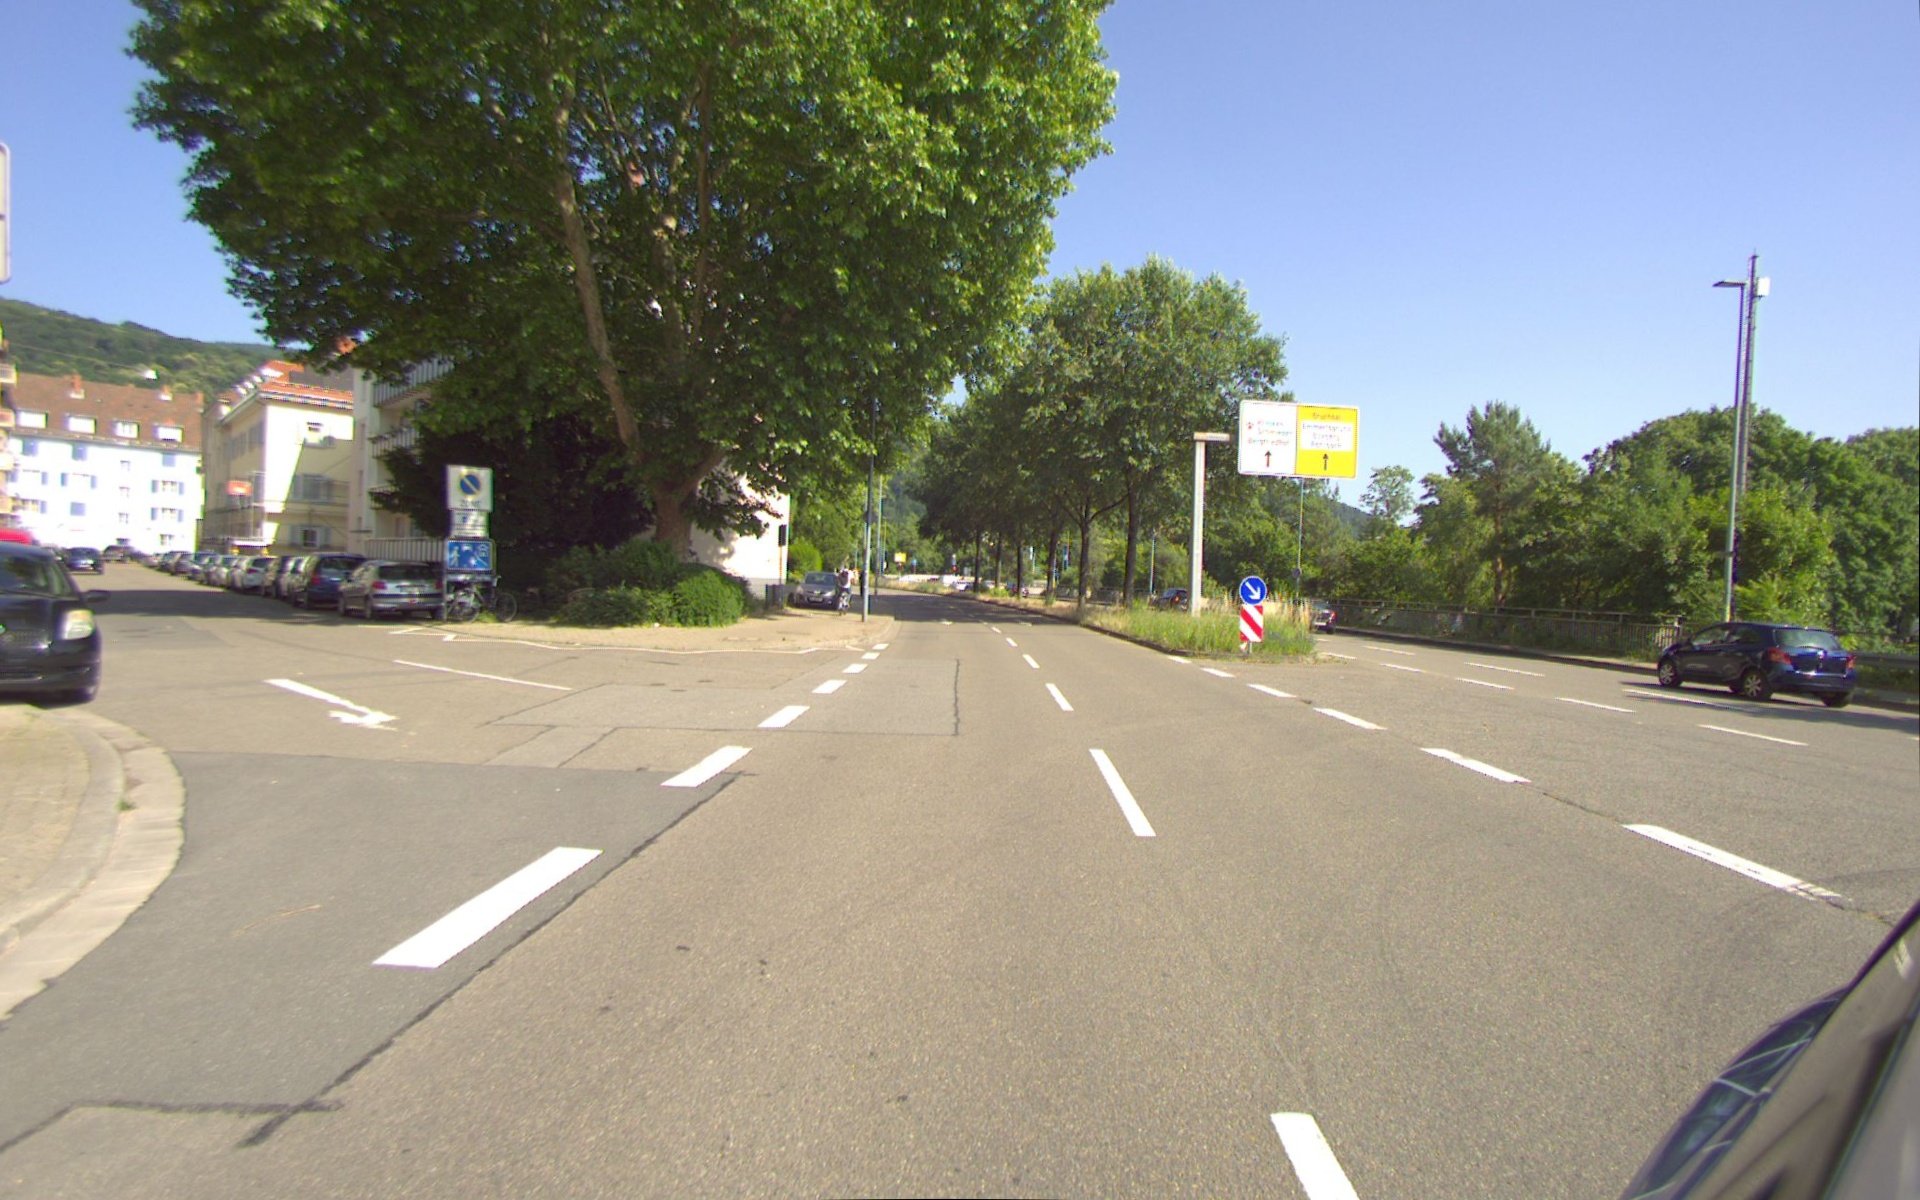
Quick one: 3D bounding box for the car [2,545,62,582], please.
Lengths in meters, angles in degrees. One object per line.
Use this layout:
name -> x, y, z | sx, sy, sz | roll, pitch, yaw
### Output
car -> -40.670, -1.624, 44.342 | 1.838, 1.504, 3.854 | 2, 1, -44

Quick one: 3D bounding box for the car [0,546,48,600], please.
car -> -28.646, -0.860, 30.306 | 1.838, 1.504, 3.991 | 2, 1, -44

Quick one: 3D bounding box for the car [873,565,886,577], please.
car -> -12.994, -4.651, 163.395 | 1.600, 1.834, 3.599 | 2, 1, -11

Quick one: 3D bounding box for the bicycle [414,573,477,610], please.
bicycle -> -15.253, -0.237, 30.040 | 1.548, 1.005, 0.456 | 4, 1, -44

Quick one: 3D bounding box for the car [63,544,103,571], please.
car -> -53.338, -2.588, 61.586 | 1.723, 1.479, 3.776 | 2, 1, -40

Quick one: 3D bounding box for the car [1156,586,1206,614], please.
car -> 14.531, -0.027, 66.707 | 1.885, 1.684, 4.317 | 2, 1, -6

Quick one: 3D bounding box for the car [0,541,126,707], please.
car -> -9.915, 0.134, 10.108 | 3.752, 1.465, 1.800 | 3, 1, 40

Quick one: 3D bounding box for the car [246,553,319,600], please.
car -> -24.250, -0.861, 36.190 | 1.723, 1.539, 3.667 | 2, 1, -40

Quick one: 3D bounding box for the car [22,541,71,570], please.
car -> -51.724, -2.538, 57.341 | 1.965, 1.496, 3.994 | 2, 1, -41

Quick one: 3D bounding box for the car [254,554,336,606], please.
car -> -21.422, -0.666, 32.553 | 1.723, 1.539, 3.667 | 2, 1, -40

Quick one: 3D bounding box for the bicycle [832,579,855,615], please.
bicycle -> -4.022, -0.099, 35.090 | 0.544, 1.203, 1.285 | 2, 1, 3

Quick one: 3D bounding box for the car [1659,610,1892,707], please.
car -> 16.031, 1.072, 20.156 | 1.616, 1.519, 3.649 | 4, 1, 1

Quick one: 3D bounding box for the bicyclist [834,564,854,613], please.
bicyclist -> -4.012, -0.390, 35.084 | 0.531, 1.654, 0.589 | 2, 0, 3

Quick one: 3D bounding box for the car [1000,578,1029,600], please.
car -> 5.235, -1.083, 97.635 | 1.959, 1.914, 4.006 | 2, 1, -7

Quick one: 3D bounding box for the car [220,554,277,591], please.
car -> -31.709, -1.245, 45.053 | 1.723, 1.539, 3.667 | 2, 1, -40

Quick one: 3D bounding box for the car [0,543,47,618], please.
car -> -20.868, -0.483, 21.699 | 1.837, 1.504, 3.992 | 2, 1, -43

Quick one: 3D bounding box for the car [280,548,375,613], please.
car -> -18.009, -0.586, 28.727 | 1.723, 1.678, 3.775 | 2, 1, -40

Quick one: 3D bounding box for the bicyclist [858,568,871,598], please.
bicyclist -> -6.174, -1.104, 65.400 | 0.634, 1.918, 0.841 | 2, 1, -13

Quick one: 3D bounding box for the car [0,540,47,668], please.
car -> -13.535, -0.041, 13.467 | 1.955, 1.562, 4.055 | 1, 2, -44

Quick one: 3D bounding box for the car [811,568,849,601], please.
car -> -6.875, -0.837, 53.219 | 1.612, 1.593, 4.008 | 2, 1, -12

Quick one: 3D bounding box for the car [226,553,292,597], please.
car -> -27.147, -0.982, 39.156 | 1.723, 1.539, 3.667 | 2, 1, -40

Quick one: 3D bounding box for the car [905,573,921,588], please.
car -> -6.301, -2.654, 136.355 | 1.600, 1.834, 3.599 | 3, 1, -11

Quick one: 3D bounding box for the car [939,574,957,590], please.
car -> -1.541, -2.327, 127.611 | 1.601, 1.938, 3.688 | 2, 1, -10

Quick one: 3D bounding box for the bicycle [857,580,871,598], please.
bicycle -> -6.181, -0.713, 65.381 | 0.648, 1.136, 1.807 | 2, 1, -12

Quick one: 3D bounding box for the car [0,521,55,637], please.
car -> -17.020, -0.426, 17.541 | 1.839, 1.864, 4.221 | 2, 1, -41

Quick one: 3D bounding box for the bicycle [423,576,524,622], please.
bicycle -> -11.226, -0.014, 23.387 | 0.970, 0.996, 1.868 | 3, 1, 43

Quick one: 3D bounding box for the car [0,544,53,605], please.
car -> -25.267, -0.728, 26.692 | 1.836, 1.504, 3.996 | 2, 1, -40

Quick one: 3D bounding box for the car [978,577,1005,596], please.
car -> 3.355, -1.436, 107.191 | 1.958, 1.914, 4.008 | 2, 1, -11

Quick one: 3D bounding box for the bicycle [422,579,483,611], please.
bicycle -> -14.648, -0.139, 29.248 | 1.481, 0.844, 0.383 | 4, 1, -44

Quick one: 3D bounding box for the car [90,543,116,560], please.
car -> -78.847, -4.452, 93.136 | 1.723, 1.499, 3.775 | 2, 1, -40

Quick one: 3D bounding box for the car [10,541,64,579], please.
car -> -45.319, -1.981, 49.677 | 1.838, 1.743, 3.854 | 2, 1, -44

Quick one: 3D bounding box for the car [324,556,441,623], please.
car -> -14.107, -0.287, 24.652 | 1.778, 1.469, 3.790 | 2, 1, -40

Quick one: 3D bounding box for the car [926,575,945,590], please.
car -> -3.555, -2.534, 146.745 | 1.958, 1.890, 4.009 | 4, 1, -12

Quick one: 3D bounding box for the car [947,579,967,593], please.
car -> -0.358, -1.686, 120.972 | 1.601, 1.514, 3.688 | 2, 1, -11

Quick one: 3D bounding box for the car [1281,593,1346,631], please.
car -> 15.363, 0.506, 44.114 | 1.651, 1.487, 3.575 | 2, 1, 3

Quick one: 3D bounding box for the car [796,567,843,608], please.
car -> -5.703, -0.550, 41.478 | 1.757, 1.531, 3.899 | 2, 1, -6
